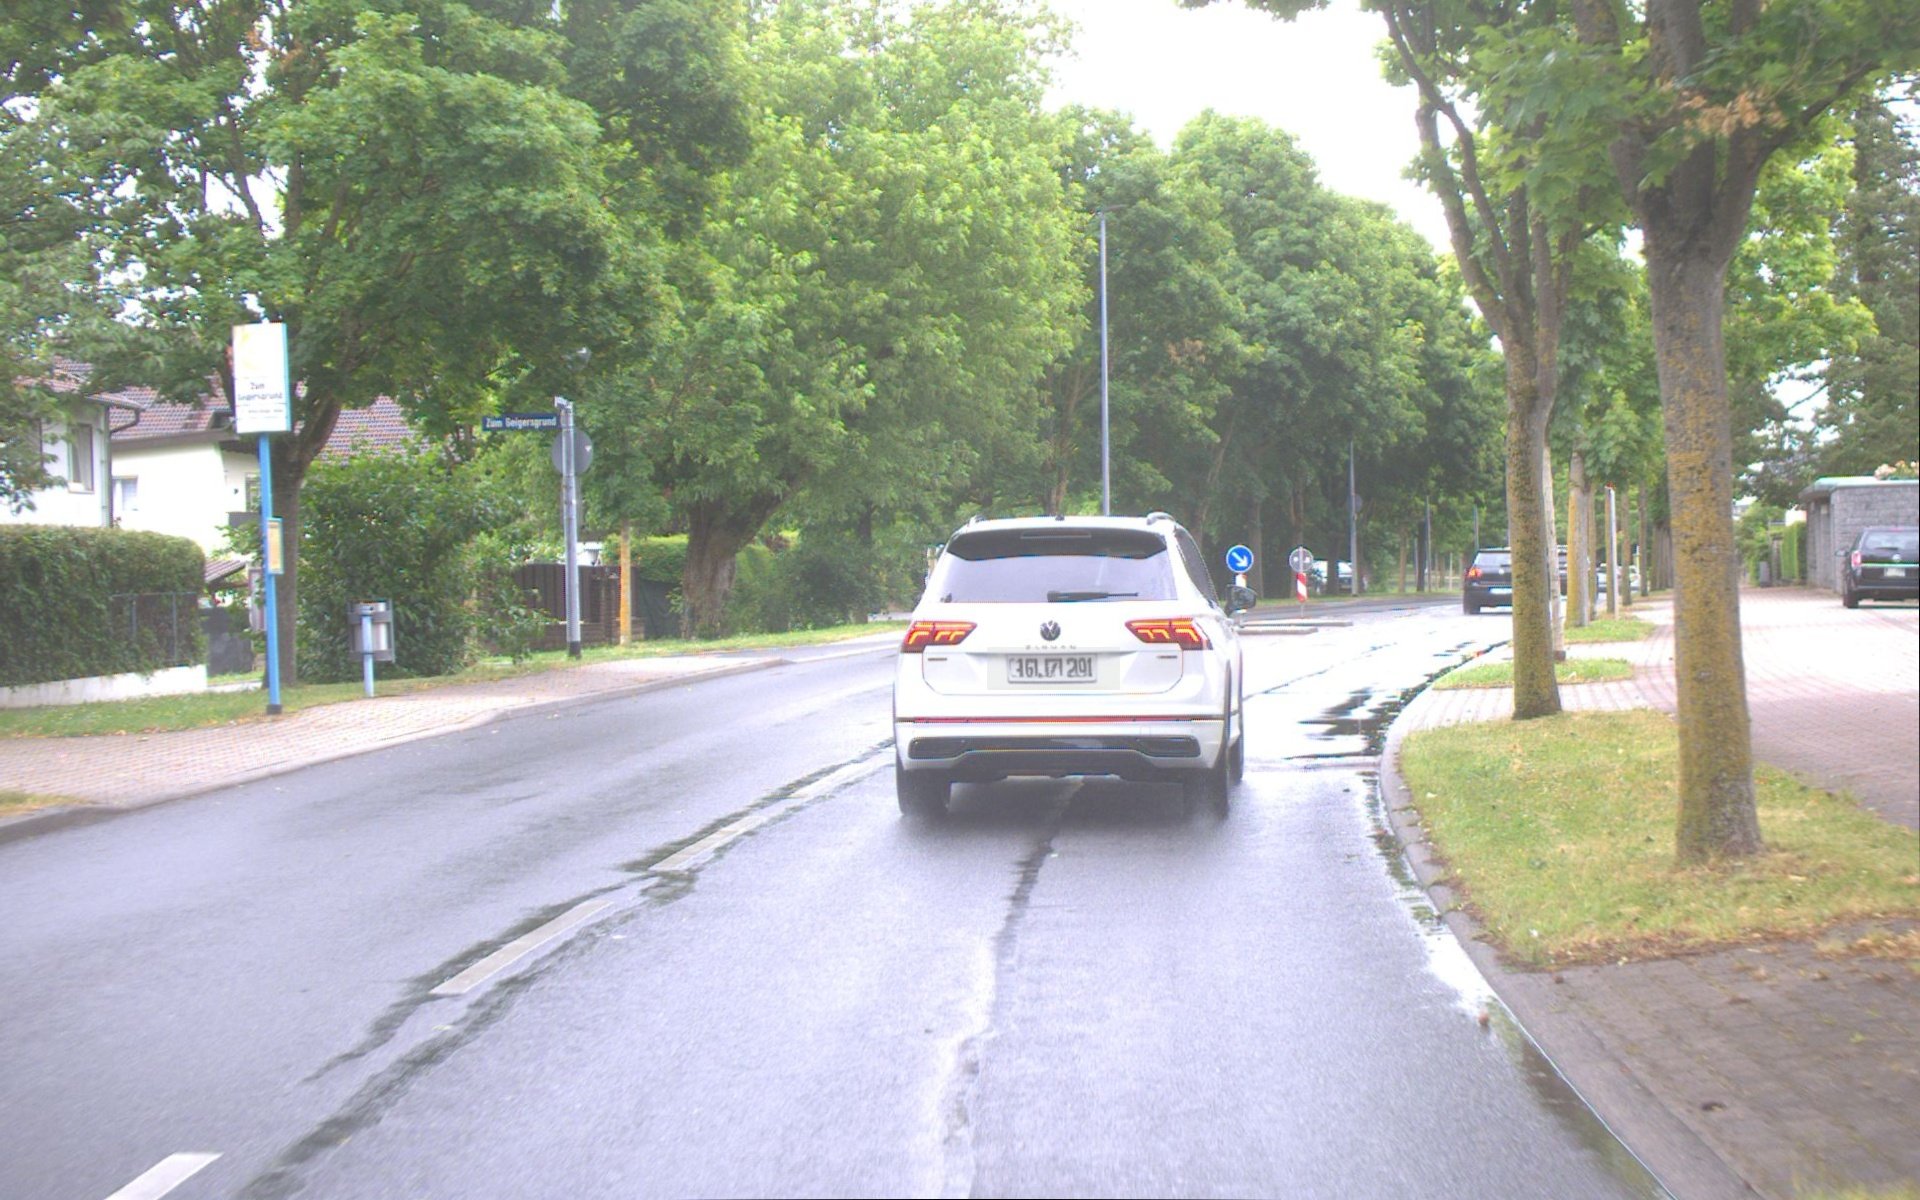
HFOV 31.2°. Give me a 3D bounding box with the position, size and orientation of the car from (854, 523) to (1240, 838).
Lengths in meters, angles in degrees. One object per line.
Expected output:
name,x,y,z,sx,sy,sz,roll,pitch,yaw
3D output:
car,0.609,0.383,19.828,1.997,1.626,3.999,0,1,5

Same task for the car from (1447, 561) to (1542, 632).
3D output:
car,12.016,-0.096,77.111,1.841,1.482,3.998,1,1,12

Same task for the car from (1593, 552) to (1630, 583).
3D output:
car,29.275,-1.470,154.537,1.638,1.322,3.998,1,1,10

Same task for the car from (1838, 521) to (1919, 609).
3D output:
car,16.923,-0.652,62.467,1.772,1.493,4.541,-2,0,13

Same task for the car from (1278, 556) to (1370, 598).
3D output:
car,13.954,-0.874,131.978,1.841,1.477,4.001,-2,0,-22

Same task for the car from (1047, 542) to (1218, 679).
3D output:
car,2.021,0.116,41.276,1.840,1.482,4.000,-3,0,1

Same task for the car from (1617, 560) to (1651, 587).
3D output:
car,35.048,-1.395,178.803,1.638,1.322,3.998,1,1,10

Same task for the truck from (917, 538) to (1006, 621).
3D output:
truck,0.083,-0.687,113.224,2.285,2.588,5.873,-2,0,6

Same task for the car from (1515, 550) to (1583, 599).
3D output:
car,18.936,-0.819,110.613,1.841,1.482,3.999,-3,0,6

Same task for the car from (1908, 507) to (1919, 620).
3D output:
car,14.747,-0.560,49.834,1.745,1.605,3.998,-2,0,13
